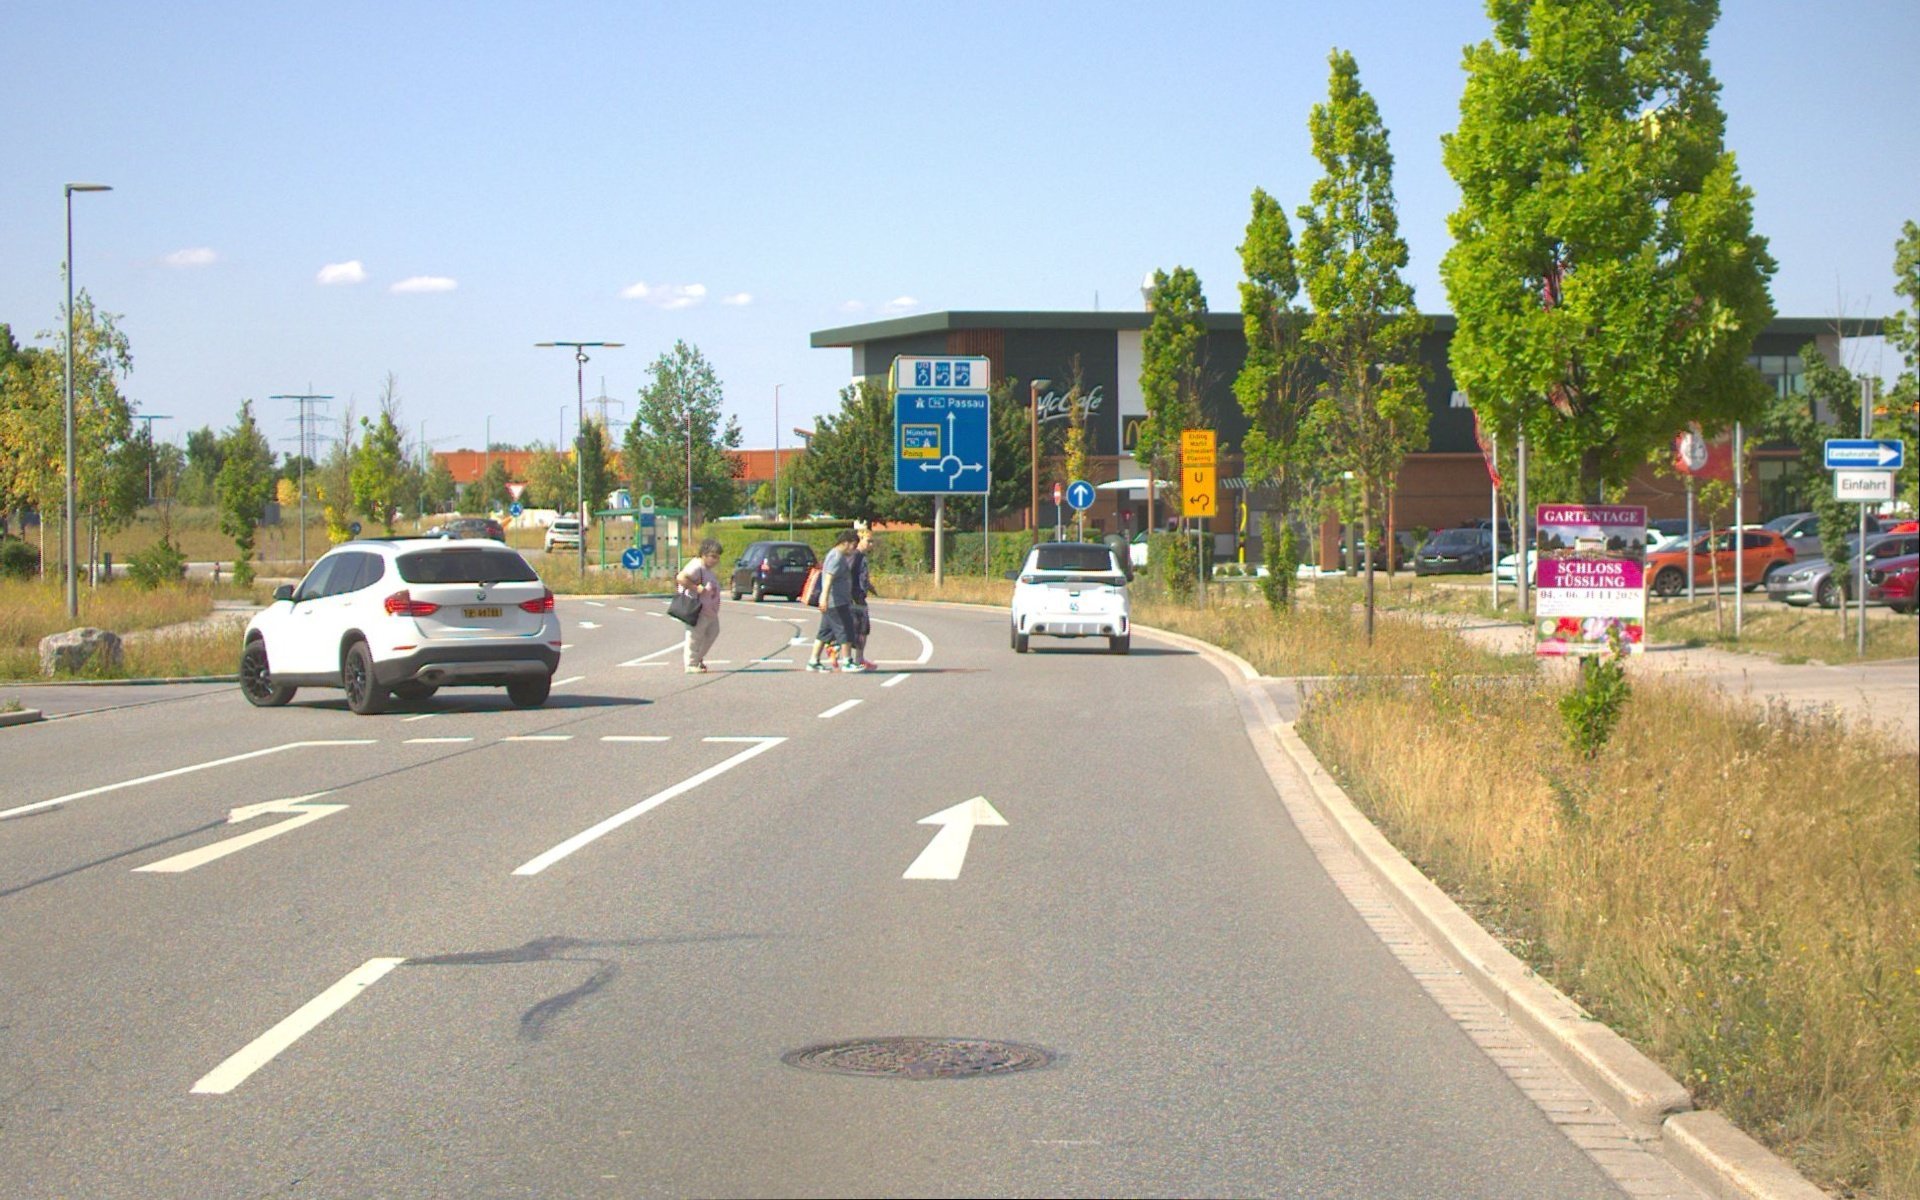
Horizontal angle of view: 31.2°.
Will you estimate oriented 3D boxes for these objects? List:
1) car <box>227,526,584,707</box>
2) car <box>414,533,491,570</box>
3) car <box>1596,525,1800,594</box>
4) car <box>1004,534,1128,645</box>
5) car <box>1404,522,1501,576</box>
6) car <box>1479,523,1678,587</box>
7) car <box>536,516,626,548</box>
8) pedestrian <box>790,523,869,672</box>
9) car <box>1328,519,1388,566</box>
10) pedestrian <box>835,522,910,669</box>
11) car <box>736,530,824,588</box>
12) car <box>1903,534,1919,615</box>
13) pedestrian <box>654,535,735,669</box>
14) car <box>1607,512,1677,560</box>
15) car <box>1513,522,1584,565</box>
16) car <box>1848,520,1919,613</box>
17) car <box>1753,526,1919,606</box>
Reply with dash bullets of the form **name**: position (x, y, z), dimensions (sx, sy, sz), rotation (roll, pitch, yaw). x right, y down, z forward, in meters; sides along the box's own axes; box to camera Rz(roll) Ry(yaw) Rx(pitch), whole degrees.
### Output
- **car**: position (-5.194, 0.102, 31.771), dimensions (1.911, 1.542, 4.226), rotation (-1, 1, -29)
- **car**: position (-20.769, -1.997, 140.917), dimensions (1.994, 1.435, 3.999), rotation (0, 2, 9)
- **car**: position (16.991, -0.952, 79.212), dimensions (4.203, 1.485, 1.869), rotation (-1, 2, -13)
- **car**: position (1.433, -0.169, 46.555), dimensions (1.616, 1.429, 3.792), rotation (0, 1, 2)
- **car**: position (13.909, -1.448, 96.939), dimensions (1.699, 1.457, 4.164), rotation (0, 1, 23)
- **car**: position (15.568, -1.152, 86.598), dimensions (4.524, 1.485, 1.869), rotation (-1, 2, -13)
- **car**: position (-17.592, -3.160, 159.602), dimensions (1.997, 1.459, 3.992), rotation (1, 2, 34)
- **pedestrian**: position (-1.440, -0.038, 38.019), dimensions (0.809, 1.623, 0.866), rotation (0, 1, 1)
- **car**: position (14.031, -2.025, 121.135), dimensions (1.793, 1.599, 3.998), rotation (-1, 1, 11)
- **pedestrian**: position (-0.980, -0.056, 38.604), dimensions (0.801, 1.624, 0.805), rotation (0, 1, 1)
- **car**: position (-4.590, -1.047, 87.059), dimensions (1.616, 1.429, 3.794), rotation (-1, 1, -12)
- **car**: position (19.475, -0.501, 62.407), dimensions (4.152, 1.444, 1.792), rotation (-2, 2, -11)
- **pedestrian**: position (-2.930, 0.012, 38.010), dimensions (0.793, 1.465, 0.949), rotation (0, 1, 1)
- **car**: position (24.780, -2.341, 124.871), dimensions (1.794, 1.696, 3.996), rotation (0, 1, 21)
- **car**: position (21.073, -2.026, 123.003), dimensions (1.794, 1.508, 3.996), rotation (0, 1, 20)
- **car**: position (19.082, -0.675, 64.755), dimensions (4.153, 1.659, 1.869), rotation (-1, 2, -5)
- **car**: position (18.536, -0.718, 69.374), dimensions (4.554, 1.485, 1.869), rotation (-1, 2, -9)
